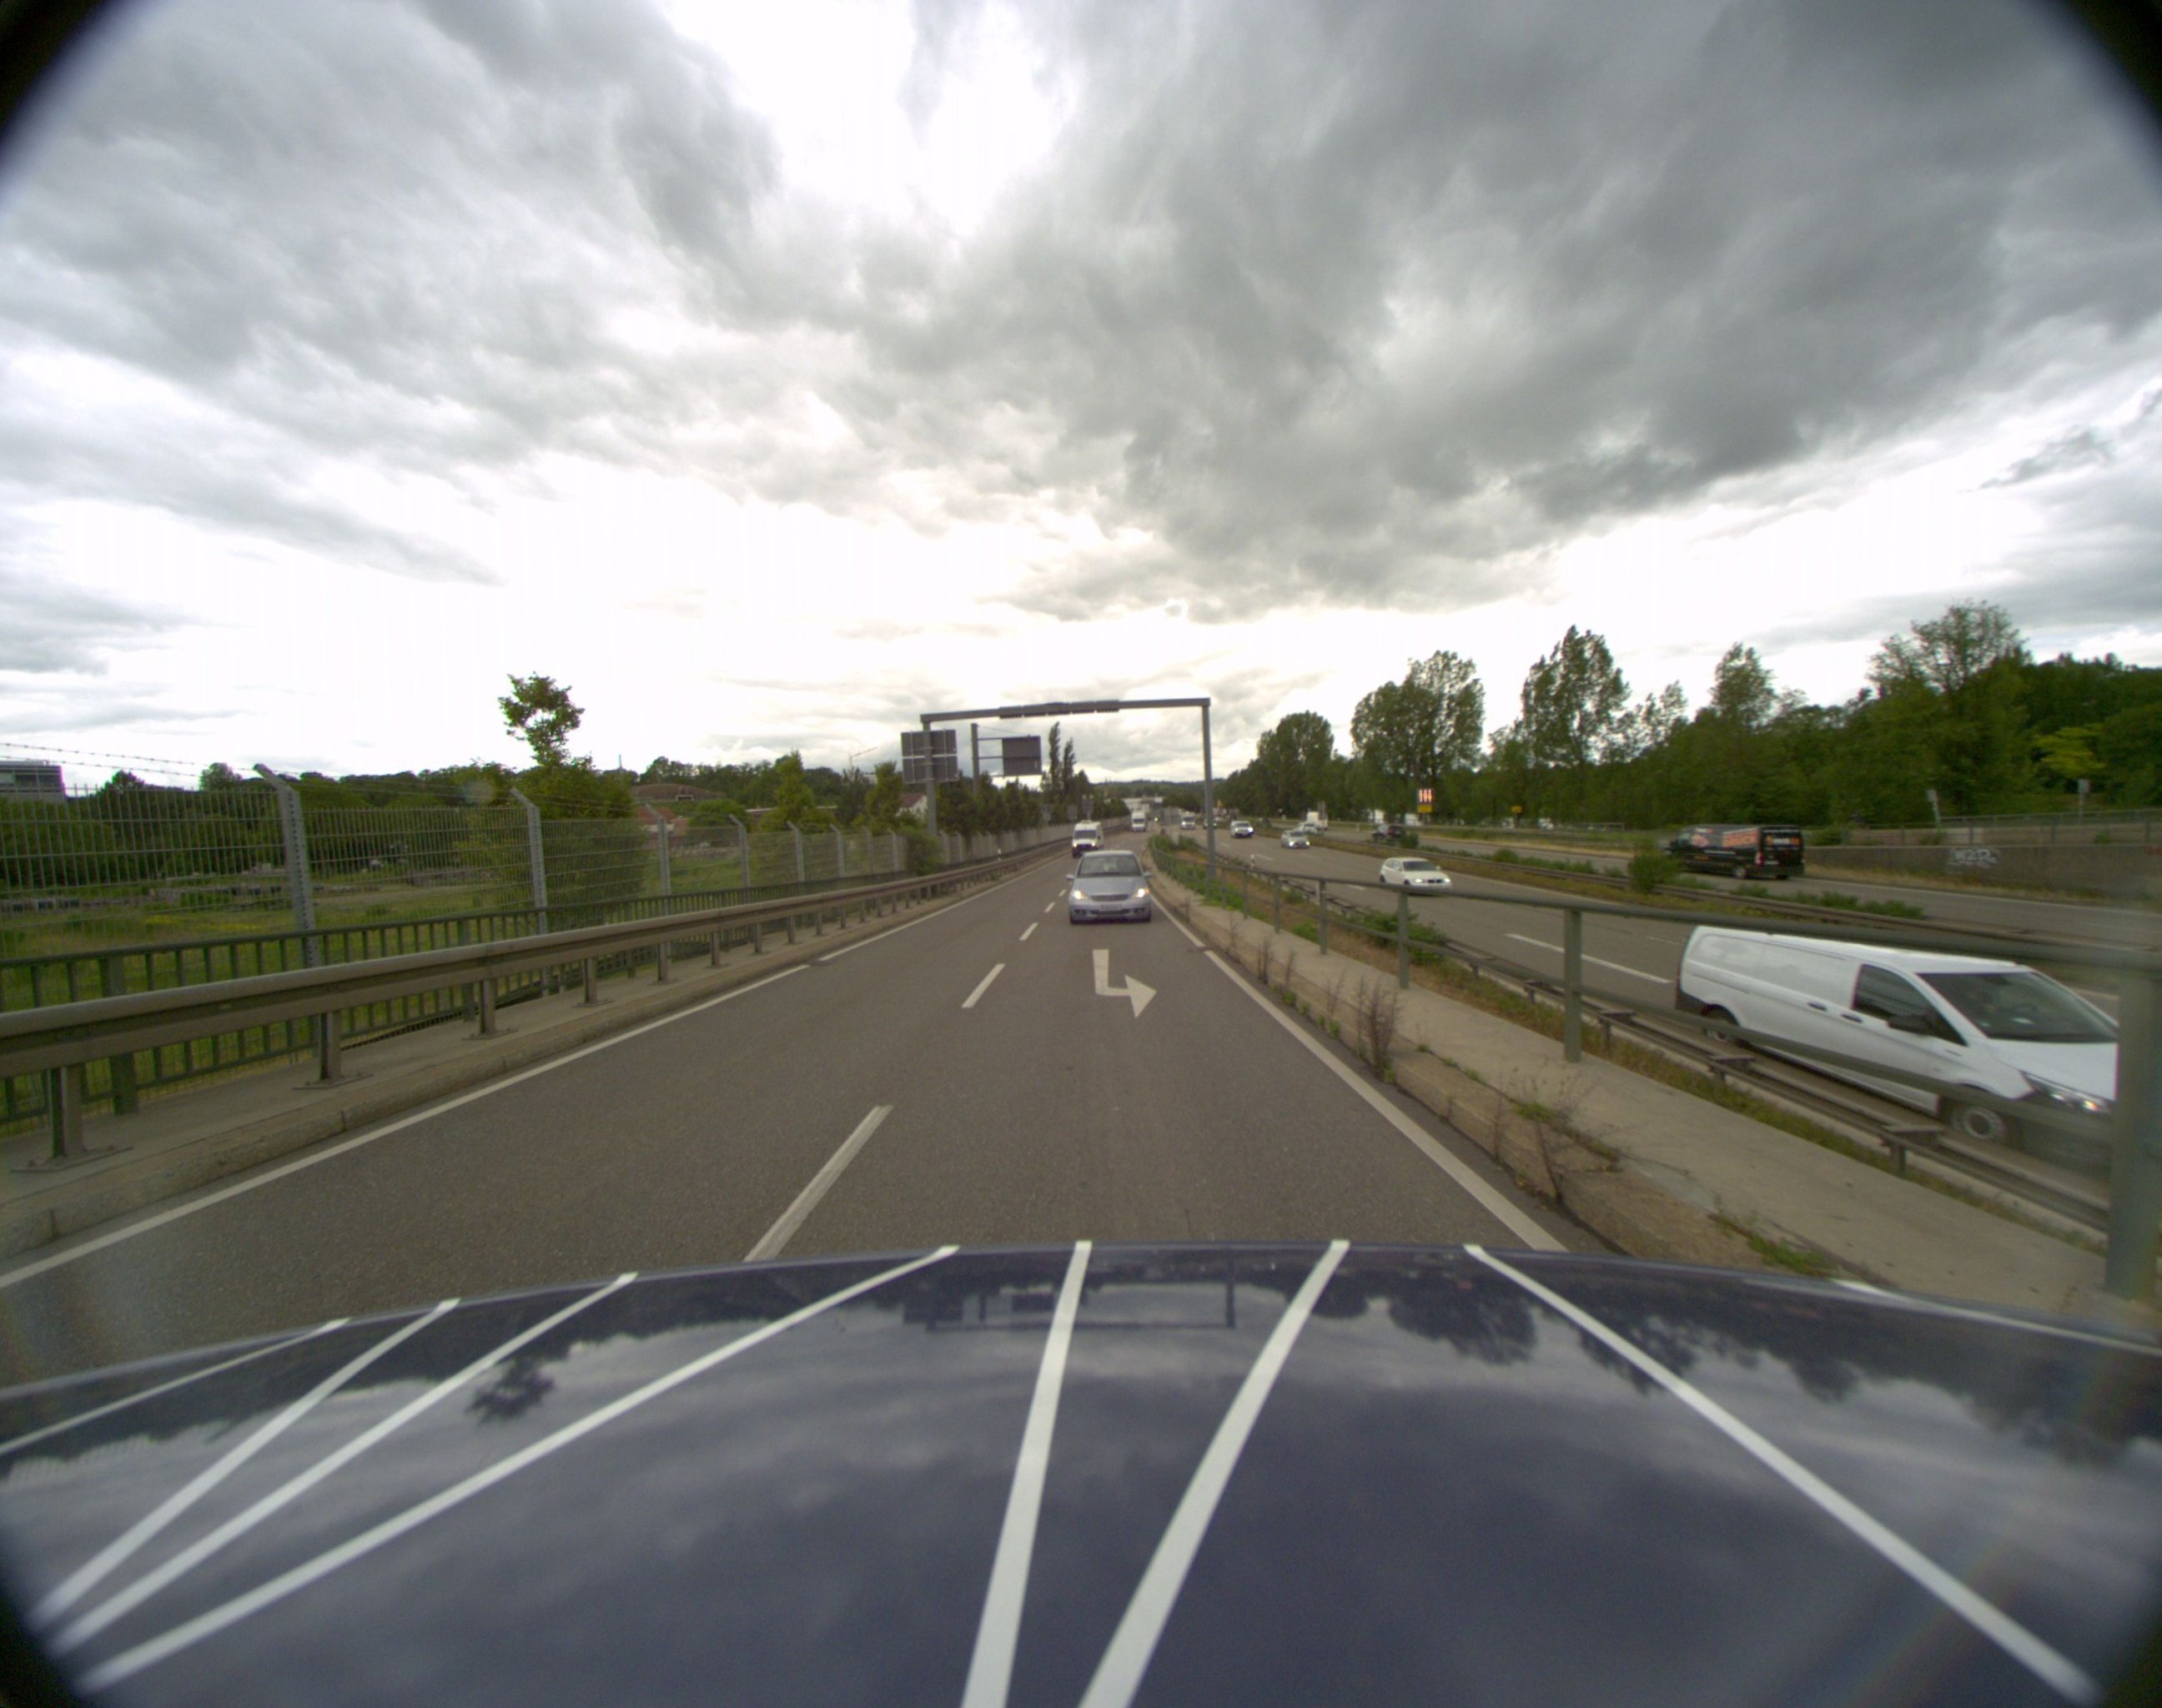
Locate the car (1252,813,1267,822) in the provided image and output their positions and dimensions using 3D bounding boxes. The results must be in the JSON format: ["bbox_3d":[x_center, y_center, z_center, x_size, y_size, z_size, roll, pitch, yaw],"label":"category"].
[{"bbox_3d":[34.398,-7.028,146.424,1.903,1.640,3.932,-2,0,1],"label":"car"}]

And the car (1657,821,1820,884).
[{"bbox_3d":[30.480,-0.216,35.612,2.250,2.533,6.110,-2,4,0],"label":"car"}]

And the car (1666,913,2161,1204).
[{"bbox_3d":[10.329,2.077,9.511,1.998,1.866,5.195,-2,4,1],"label":"car"}]

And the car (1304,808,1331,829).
[{"bbox_3d":[33.202,-5.049,106.826,2.215,2.765,5.357,-1,4,1],"label":"car"}]

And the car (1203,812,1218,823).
[{"bbox_3d":[21.647,-6.083,127.226,1.845,1.704,4.277,-2,4,2],"label":"car"}]

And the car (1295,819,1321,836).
[{"bbox_3d":[25.431,-2.977,85.211,1.761,1.641,3.929,-2,4,0],"label":"car"}]

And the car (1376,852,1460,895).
[{"bbox_3d":[14.144,0.768,32.170,1.747,1.444,4.163,-2,3,0],"label":"car"}]

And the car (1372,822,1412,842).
[{"bbox_3d":[28.126,-1.993,68.940,1.903,1.641,4.330,-1,4,1],"label":"car"}]

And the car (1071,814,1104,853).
[{"bbox_3d":[0.570,-1.517,59.046,2.115,2.767,6.780,-2,1,4],"label":"car"}]

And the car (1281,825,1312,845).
[{"bbox_3d":[18.412,-1.677,65.100,1.560,1.544,3.680,-2,4,0],"label":"car"}]

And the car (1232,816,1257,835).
[{"bbox_3d":[18.536,-3.234,86.384,1.954,1.925,4.893,-2,4,3],"label":"car"}]

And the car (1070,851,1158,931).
[{"bbox_3d":[0.702,0.761,17.864,1.781,1.578,3.999,-2,1,0],"label":"car"}]

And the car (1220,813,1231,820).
[{"bbox_3d":[35.437,-9.289,186.478,1.903,1.641,3.930,-2,3,1],"label":"car"}]

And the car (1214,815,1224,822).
[{"bbox_3d":[36.738,-9.529,202.636,1.903,1.641,3.930,-2,3,1],"label":"car"}]

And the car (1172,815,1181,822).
[{"bbox_3d":[25.484,-9.526,203.048,1.845,1.789,4.279,-2,1,1],"label":"car"}]

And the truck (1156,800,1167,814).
[{"bbox_3d":[24.323,-14.158,230.368,2.758,4.229,6.693,-1,4,0],"label":"truck"}]

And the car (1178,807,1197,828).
[{"bbox_3d":[17.959,-6.204,128.251,2.367,3.223,7.655,-2,4,2],"label":"car"}]

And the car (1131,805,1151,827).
[{"bbox_3d":[9.508,-5.992,120.269,2.664,3.311,7.092,-2,2,7],"label":"car"}]

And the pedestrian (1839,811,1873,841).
[{"bbox_3d":[46.149,-1.662,45.260,0.832,1.696,1.077,-3,4,1],"label":"pedestrian"}]

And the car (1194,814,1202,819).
[{"bbox_3d":[37.341,-12.040,243.337,1.903,1.641,3.930,-2,3,1],"label":"car"}]

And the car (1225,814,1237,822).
[{"bbox_3d":[33.684,-8.131,171.089,1.903,1.641,3.930,-2,3,1],"label":"car"}]
